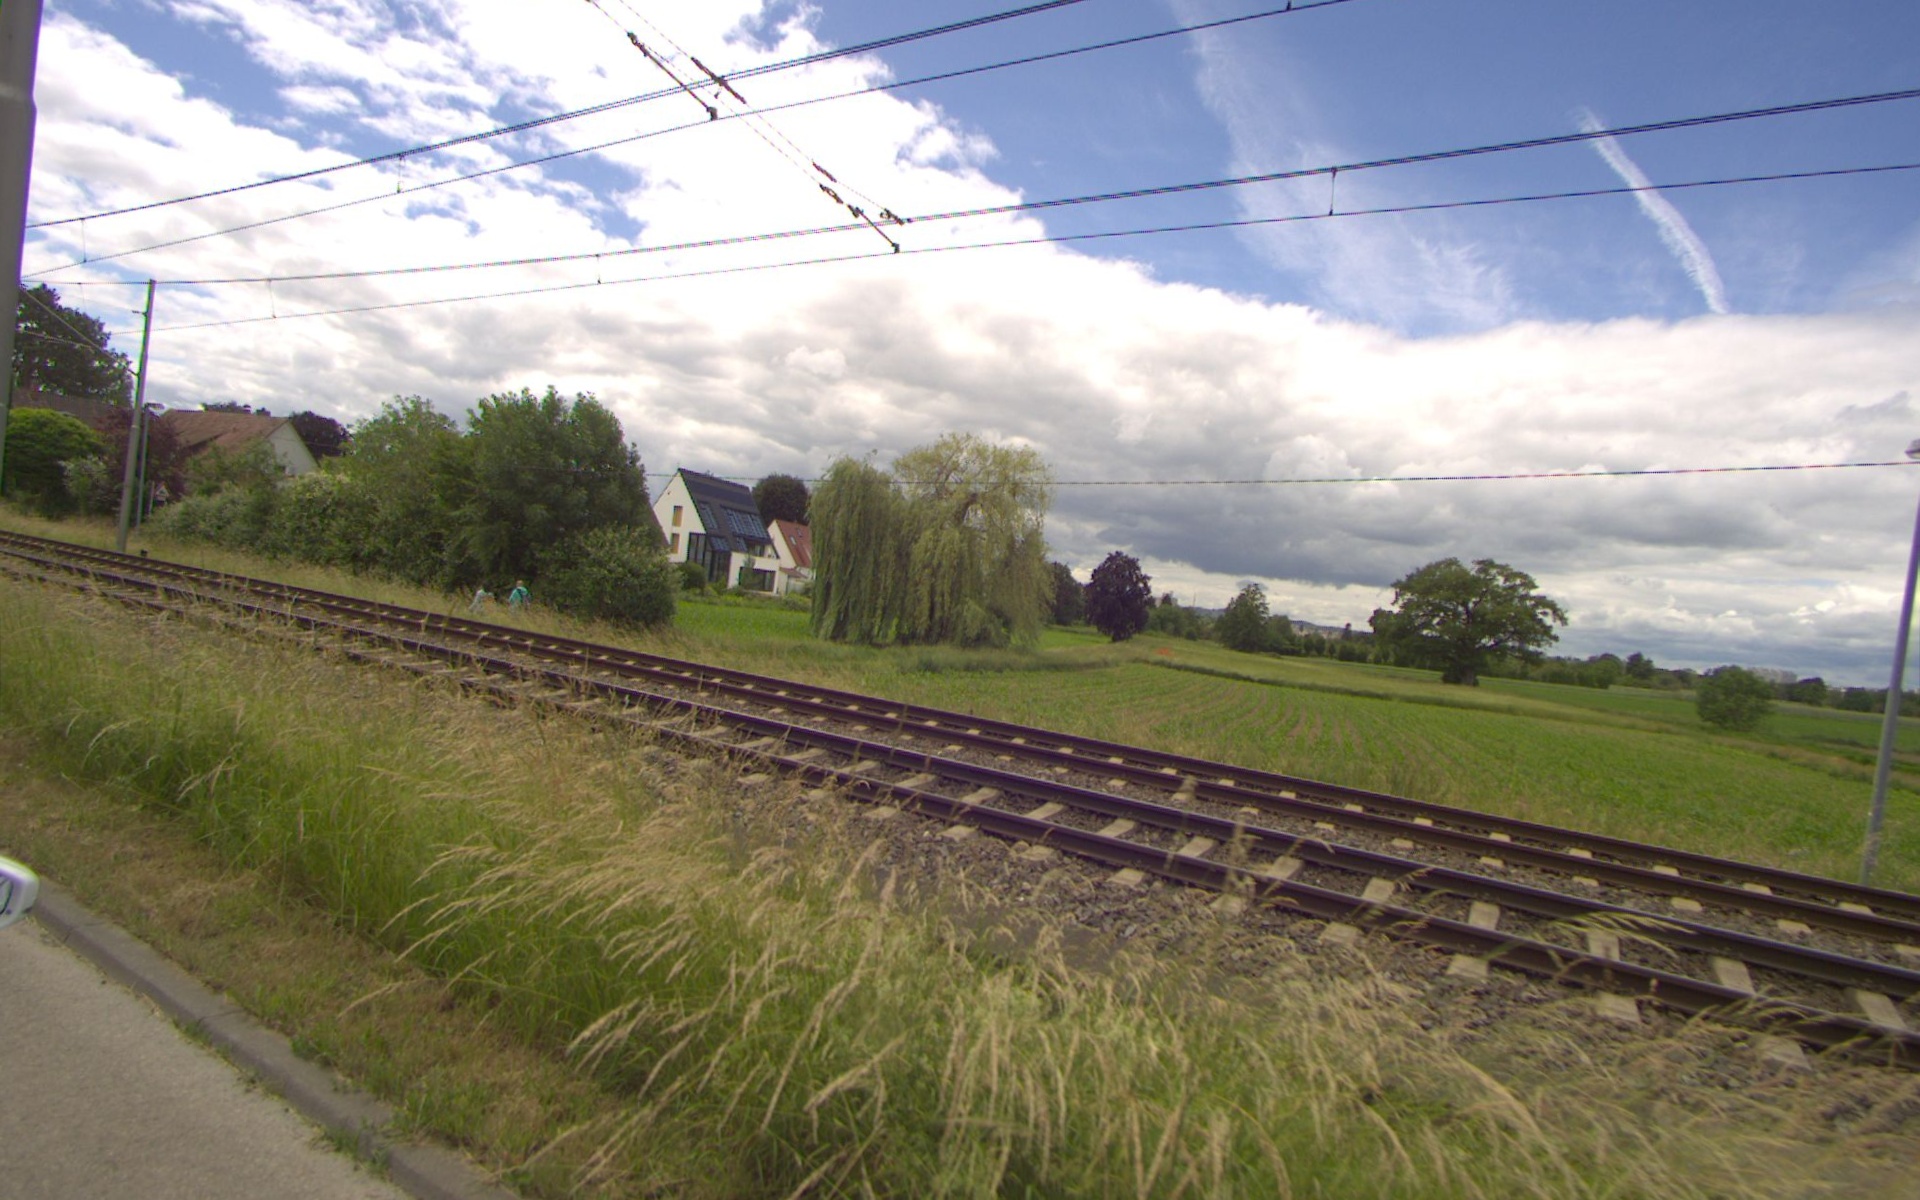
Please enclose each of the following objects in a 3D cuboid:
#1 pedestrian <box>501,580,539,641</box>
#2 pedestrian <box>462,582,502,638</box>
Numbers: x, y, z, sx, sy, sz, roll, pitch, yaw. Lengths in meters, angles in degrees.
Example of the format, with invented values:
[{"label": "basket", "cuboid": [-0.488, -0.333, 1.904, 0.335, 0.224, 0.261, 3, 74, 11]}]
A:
[{"label": "pedestrian", "cuboid": [-12.704, 0.303, 29.041, 0.574, 1.641, 0.617, 7, -1, 32]}, {"label": "pedestrian", "cuboid": [-13.371, 0.272, 28.128, 0.656, 1.447, 0.598, 7, -1, 34]}]
